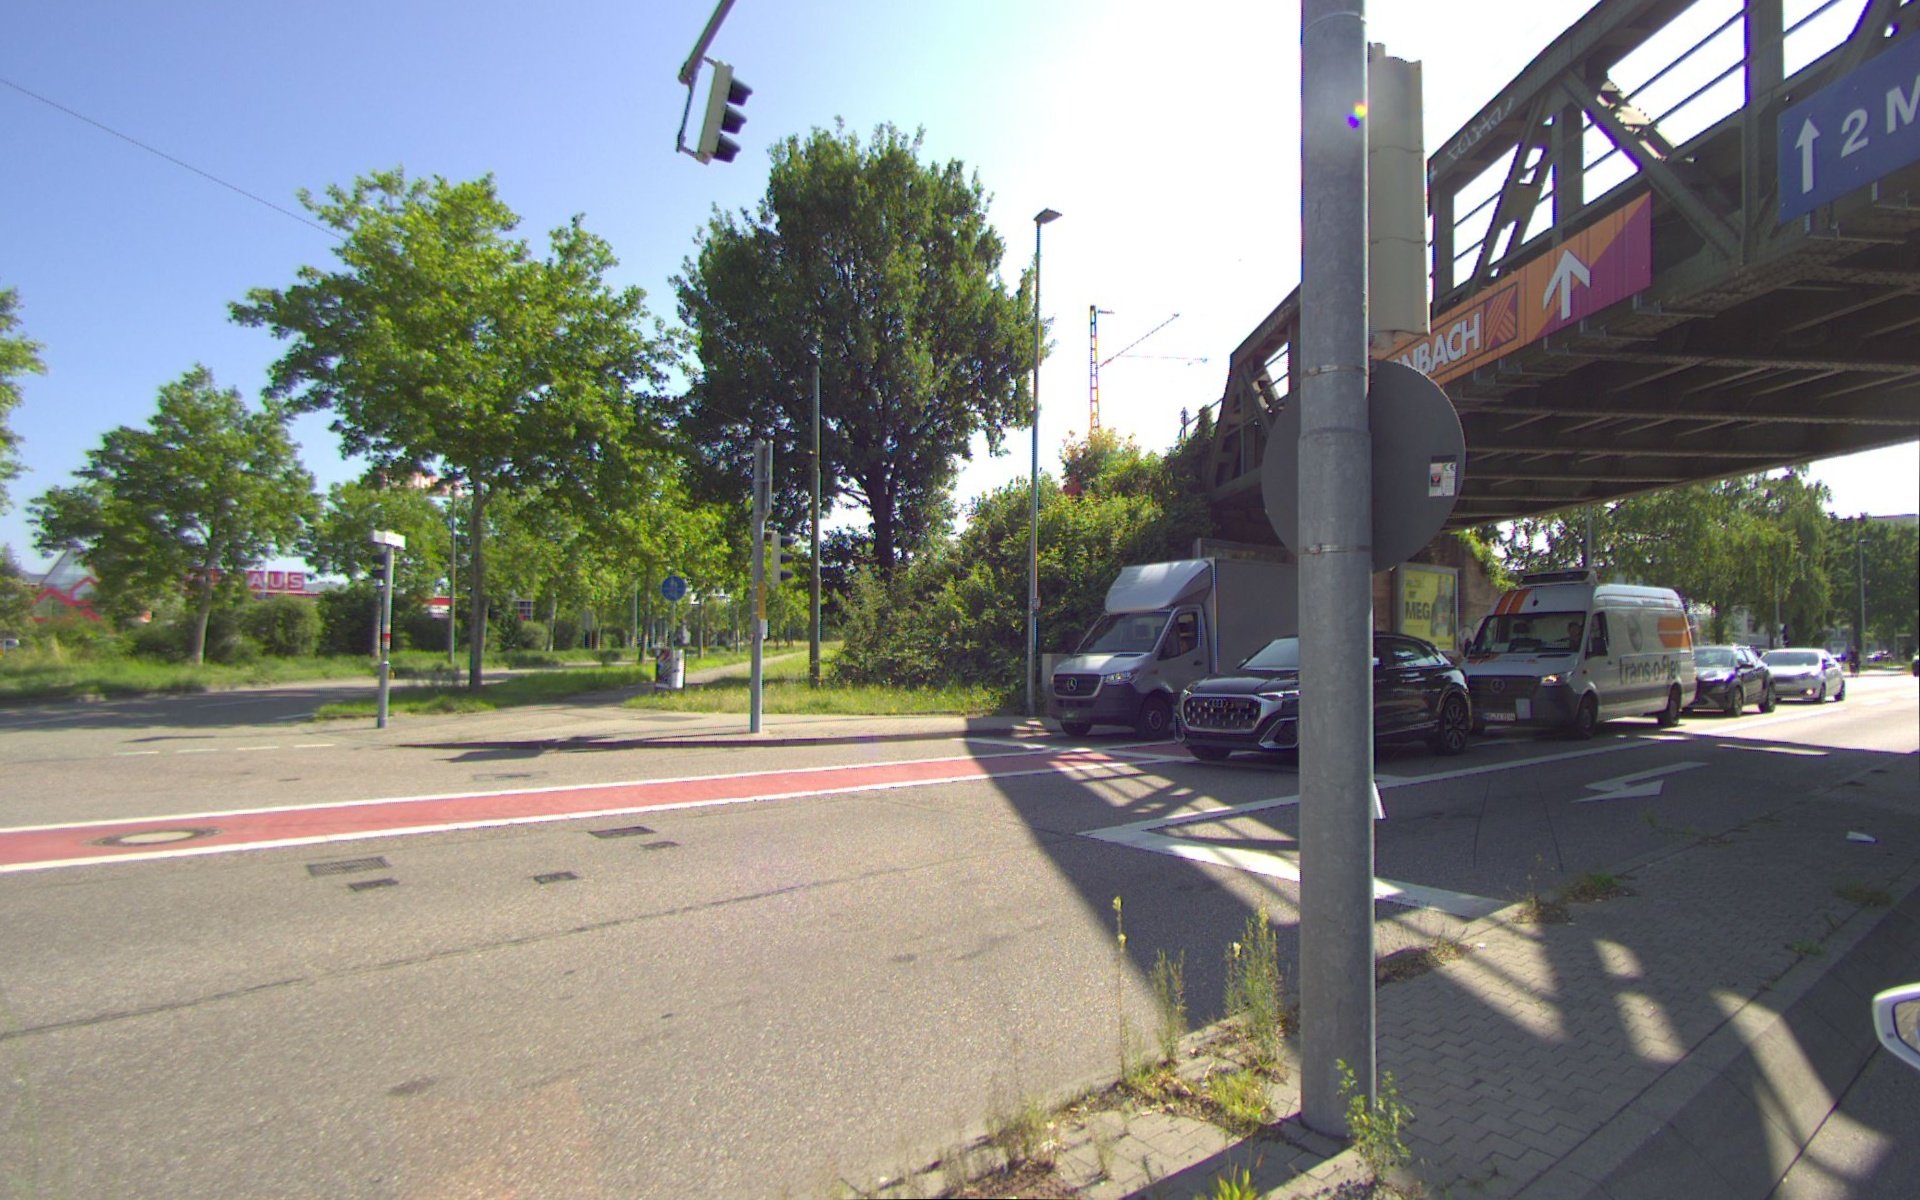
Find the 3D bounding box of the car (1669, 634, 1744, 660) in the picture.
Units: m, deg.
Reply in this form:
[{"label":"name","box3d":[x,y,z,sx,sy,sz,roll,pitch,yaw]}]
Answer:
[{"label":"car","box3d":[56.912,3.592,76.619,1.935,1.909,4.237,2,-3,-36]}]

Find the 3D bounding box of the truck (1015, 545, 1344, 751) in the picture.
[{"label":"truck","box3d":[4.292,0.858,18.508,7.019,3.129,2.320,2,-3,-43]}]

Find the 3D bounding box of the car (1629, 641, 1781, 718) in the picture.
[{"label":"car","box3d":[17.025,1.759,22.890,4.141,1.514,1.755,1,-3,-39]}]

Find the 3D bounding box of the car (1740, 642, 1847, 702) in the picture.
[{"label":"car","box3d":[23.395,1.984,28.154,3.797,1.514,1.629,1,-3,-40]}]

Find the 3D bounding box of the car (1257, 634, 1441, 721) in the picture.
[{"label":"car","box3d":[8.801,1.687,22.599,4.250,1.712,1.969,1,-3,-39]}]

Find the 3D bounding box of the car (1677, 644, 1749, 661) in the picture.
[{"label":"car","box3d":[60.499,4.216,80.773,1.935,1.345,4.237,2,-3,-36]}]

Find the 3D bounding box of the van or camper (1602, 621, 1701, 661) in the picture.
[{"label":"van or camper","box3d":[47.698,2.798,69.405,1.984,2.504,5.332,1,0,-40]}]

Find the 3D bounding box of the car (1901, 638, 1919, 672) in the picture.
[{"label":"car","box3d":[60.517,3.379,62.349,5.292,2.040,1.981,2,-3,-35]}]

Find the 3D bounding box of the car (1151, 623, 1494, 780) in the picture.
[{"label":"car","box3d":[4.889,1.206,13.227,4.907,1.703,1.978,2,-3,-38]}]

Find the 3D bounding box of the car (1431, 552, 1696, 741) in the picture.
[{"label":"car","box3d":[11.122,0.862,18.198,6.884,2.841,1.977,2,-5,-41]}]
